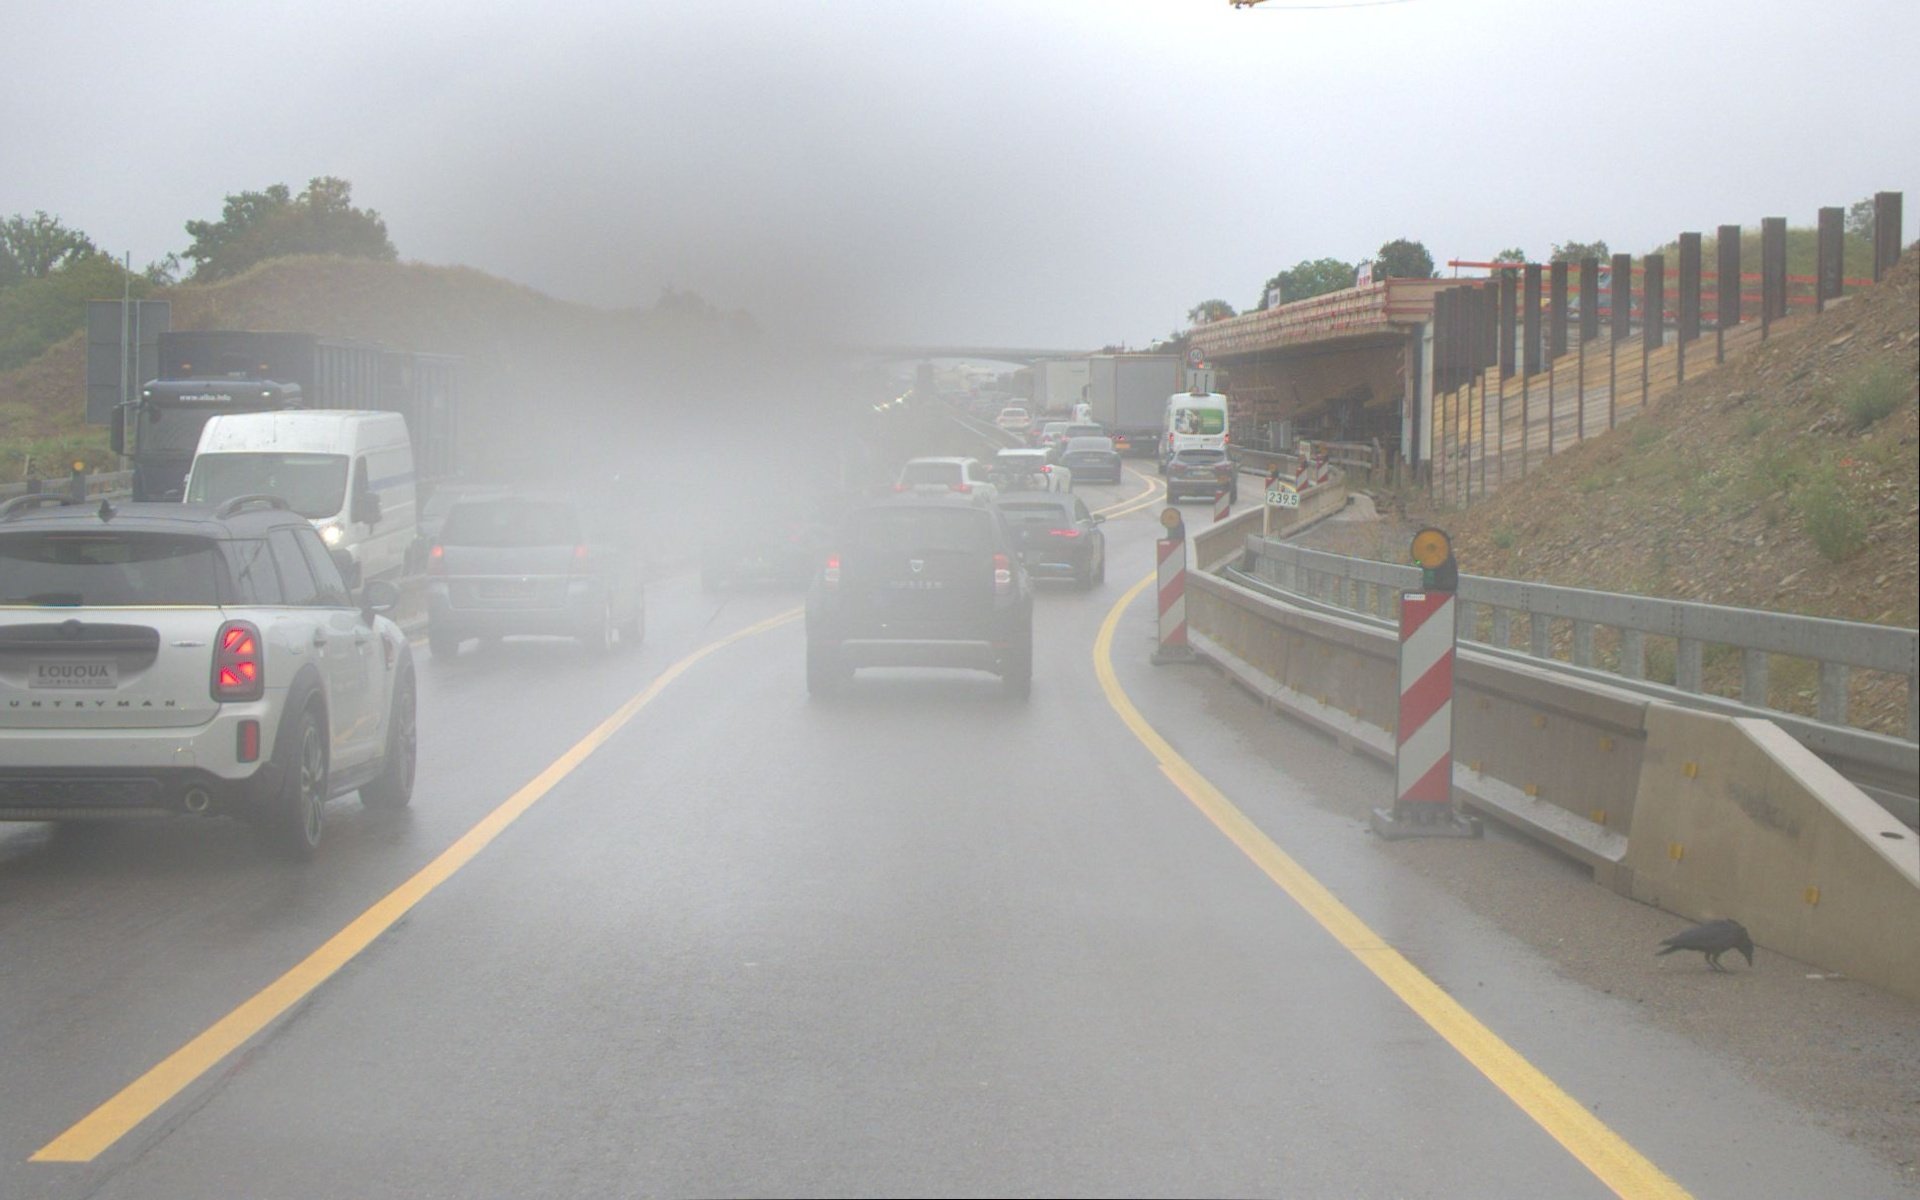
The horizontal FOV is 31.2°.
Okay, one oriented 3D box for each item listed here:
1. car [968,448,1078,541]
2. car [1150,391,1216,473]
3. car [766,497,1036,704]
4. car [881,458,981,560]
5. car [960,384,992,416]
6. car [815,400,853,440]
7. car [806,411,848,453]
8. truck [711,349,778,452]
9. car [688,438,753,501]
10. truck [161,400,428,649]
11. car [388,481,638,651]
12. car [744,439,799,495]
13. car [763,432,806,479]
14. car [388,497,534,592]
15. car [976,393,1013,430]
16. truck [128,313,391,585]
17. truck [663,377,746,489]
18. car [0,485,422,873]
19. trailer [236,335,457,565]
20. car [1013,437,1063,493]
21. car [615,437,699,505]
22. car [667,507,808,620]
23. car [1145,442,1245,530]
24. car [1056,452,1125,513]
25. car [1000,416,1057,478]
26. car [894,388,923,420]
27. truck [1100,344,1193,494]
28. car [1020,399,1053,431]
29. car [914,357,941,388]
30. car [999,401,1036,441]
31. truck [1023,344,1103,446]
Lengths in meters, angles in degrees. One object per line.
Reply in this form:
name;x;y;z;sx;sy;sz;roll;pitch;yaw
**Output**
car;1.590;-2.596;85.478;1.994;2.155;4.138;0;0;12
car;7.440;-5.580;115.092;1.993;2.476;4.981;0;0;2
car;-0.473;0.009;28.708;2.081;1.595;4.140;0;0;0
car;-0.633;-1.867;71.520;1.993;2.007;3.894;0;0;-2
car;1.029;-13.164;226.431;1.993;2.007;4.001;0;1;-1
car;-7.939;-11.336;216.914;2.217;2.362;4.664;1;2;0
car;-7.823;-9.867;202.644;2.238;2.350;4.877;1;2;0
truck;-11.892;-10.983;190.504;3.141;5.399;8.524;1;2;0
car;-7.588;-4.139;109.257;1.785;1.803;4.499;0;0;-1
truck;-7.733;-0.902;40.557;2.147;2.704;6.017;0;1;-2
car;-4.423;-0.316;34.610;1.993;1.595;4.140;0;0;0
car;-6.736;-4.744;123.115;1.785;1.803;4.499;0;0;-1
car;-7.343;-6.048;143.870;1.623;1.803;3.637;0;0;0
car;-8.075;-0.931;56.015;1.868;1.466;4.671;0;2;-2
car;1.989;-10.953;199.929;1.993;2.007;4.001;0;1;-1
truck;-10.993;-2.385;54.846;2.641;3.956;9.215;0;2;-2
truck;-11.563;-7.523;156.356;3.083;4.902;8.565;1;2;0
car;-3.731;0.310;16.328;1.816;1.595;4.308;0;0;-2
trailer;-11.321;-2.782;64.272;2.745;3.956;9.676;0;2;-2
car;3.248;-5.632;143.563;1.993;2.155;4.140;0;0;0
car;-7.841;-3.356;89.355;1.737;1.678;5.553;1;2;-1
car;-3.269;-0.510;51.080;1.993;1.595;4.141;0;0;-2
car;6.235;-2.982;90.899;1.995;2.155;4.138;0;0;13
car;4.000;-3.602;105.875;1.993;1.755;3.814;0;0;1
car;2.650;-5.861;132.116;1.994;2.155;4.140;0;0;4
car;-3.681;-13.933;244.348;1.993;2.007;4.000;0;0;-1
truck;7.485;-7.114;137.116;3.102;5.408;9.440;0;0;7
car;5.254;-12.714;236.374;1.993;2.007;4.000;0;0;-2
car;-2.450;-17.105;258.403;1.993;2.007;4.000;0;0;-1
car;3.046;-9.465;182.151;1.849;1.887;4.021;0;0;0
truck;5.806;-11.635;196.641;3.803;5.025;12.922;0;0;-2
